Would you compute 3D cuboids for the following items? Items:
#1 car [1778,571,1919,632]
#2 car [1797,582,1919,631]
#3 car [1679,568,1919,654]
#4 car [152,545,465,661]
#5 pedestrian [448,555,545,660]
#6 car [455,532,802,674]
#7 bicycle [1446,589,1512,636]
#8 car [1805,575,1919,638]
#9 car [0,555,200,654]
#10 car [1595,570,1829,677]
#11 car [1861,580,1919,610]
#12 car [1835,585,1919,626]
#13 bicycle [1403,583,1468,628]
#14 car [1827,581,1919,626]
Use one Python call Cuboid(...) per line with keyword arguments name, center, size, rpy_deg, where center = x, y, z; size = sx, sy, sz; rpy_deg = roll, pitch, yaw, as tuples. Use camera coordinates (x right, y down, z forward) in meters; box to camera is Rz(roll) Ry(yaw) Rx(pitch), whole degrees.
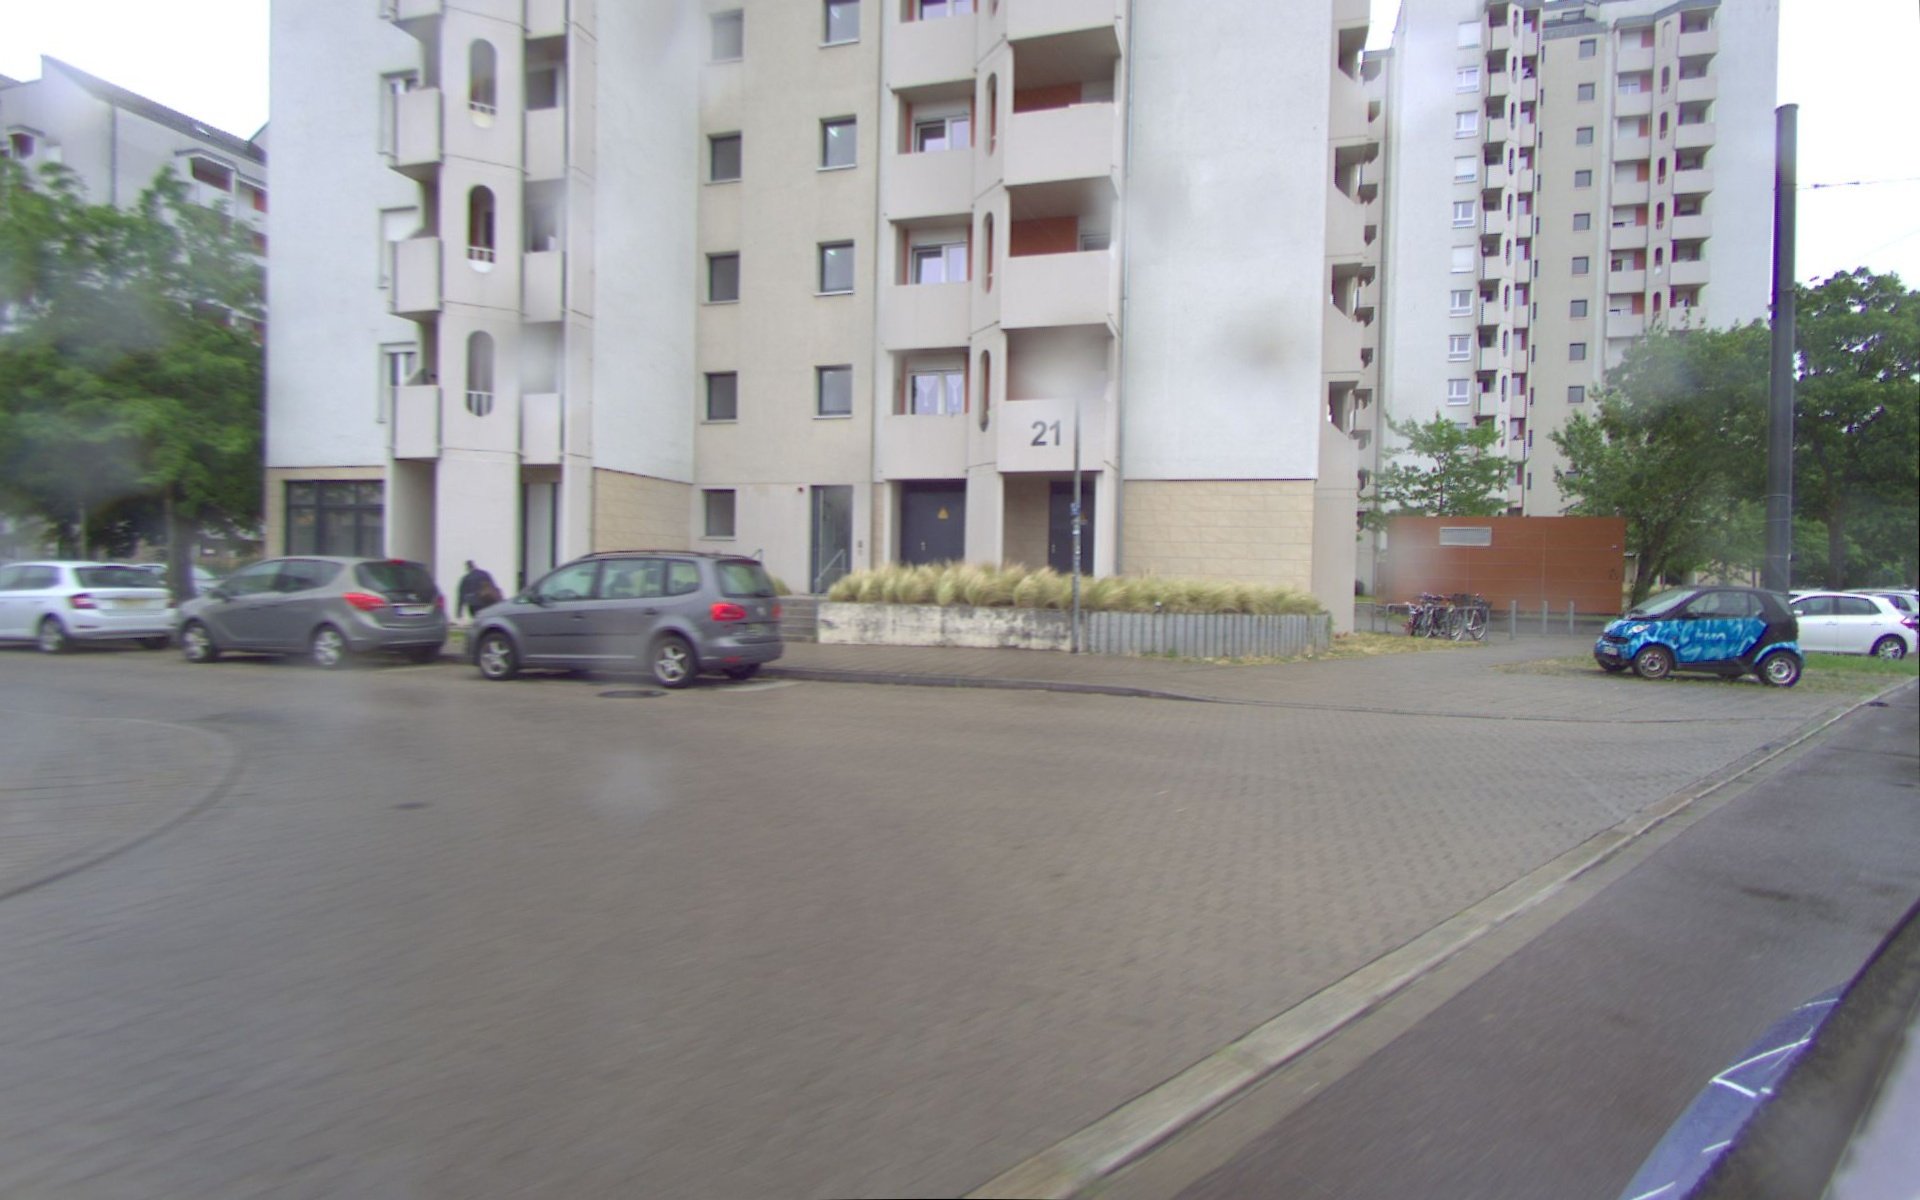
Cuboid(name="car", center=(29.456, 0.077, 32.588), size=(4.389, 1.692, 1.808), rpy_deg=(4, 2, 9))
Cuboid(name="car", center=(31.760, 0.257, 34.595), size=(4.397, 1.427, 1.761), rpy_deg=(4, 2, 14))
Cuboid(name="car", center=(18.878, 0.200, 22.597), size=(4.118, 1.566, 1.761), rpy_deg=(4, 2, 9))
Cuboid(name="car", center=(-9.634, 0.026, 15.005), size=(4.060, 1.553, 1.804), rpy_deg=(0, 0, 19))
Cuboid(name="pedestrian", center=(-7.087, 0.091, 15.513), size=(0.827, 1.536, 1.088), rpy_deg=(0, 1, 20))
Cuboid(name="car", center=(-4.289, 0.019, 13.205), size=(4.060, 1.637, 1.804), rpy_deg=(0, 0, 19))
Cuboid(name="bicycle", center=(11.933, 0.262, 23.235), size=(2.023, 1.018, 0.662), rpy_deg=(-1, 1, -42))
Cuboid(name="car", center=(28.304, 0.235, 30.332), size=(4.122, 1.692, 1.679), rpy_deg=(4, 2, 12))
Cuboid(name="car", center=(-14.777, 0.052, 16.690), size=(3.748, 1.493, 1.804), rpy_deg=(0, 0, 19))
Cuboid(name="car", center=(12.094, 0.326, 16.439), size=(2.523, 1.567, 1.599), rpy_deg=(1, 2, 9))
Cuboid(name="car", center=(52.104, -0.214, 55.187), size=(3.986, 1.506, 1.718), rpy_deg=(4, 2, 13))
Cuboid(name="car", center=(38.660, 0.298, 41.014), size=(4.397, 1.483, 1.812), rpy_deg=(4, 2, 14))
Cuboid(name="bicycle", center=(11.369, 0.121, 24.175), size=(2.023, 1.018, 0.662), rpy_deg=(-1, 1, -42))
Cuboid(name="car", center=(34.525, 0.201, 36.610), size=(4.398, 1.445, 1.677), rpy_deg=(4, 2, 15))
